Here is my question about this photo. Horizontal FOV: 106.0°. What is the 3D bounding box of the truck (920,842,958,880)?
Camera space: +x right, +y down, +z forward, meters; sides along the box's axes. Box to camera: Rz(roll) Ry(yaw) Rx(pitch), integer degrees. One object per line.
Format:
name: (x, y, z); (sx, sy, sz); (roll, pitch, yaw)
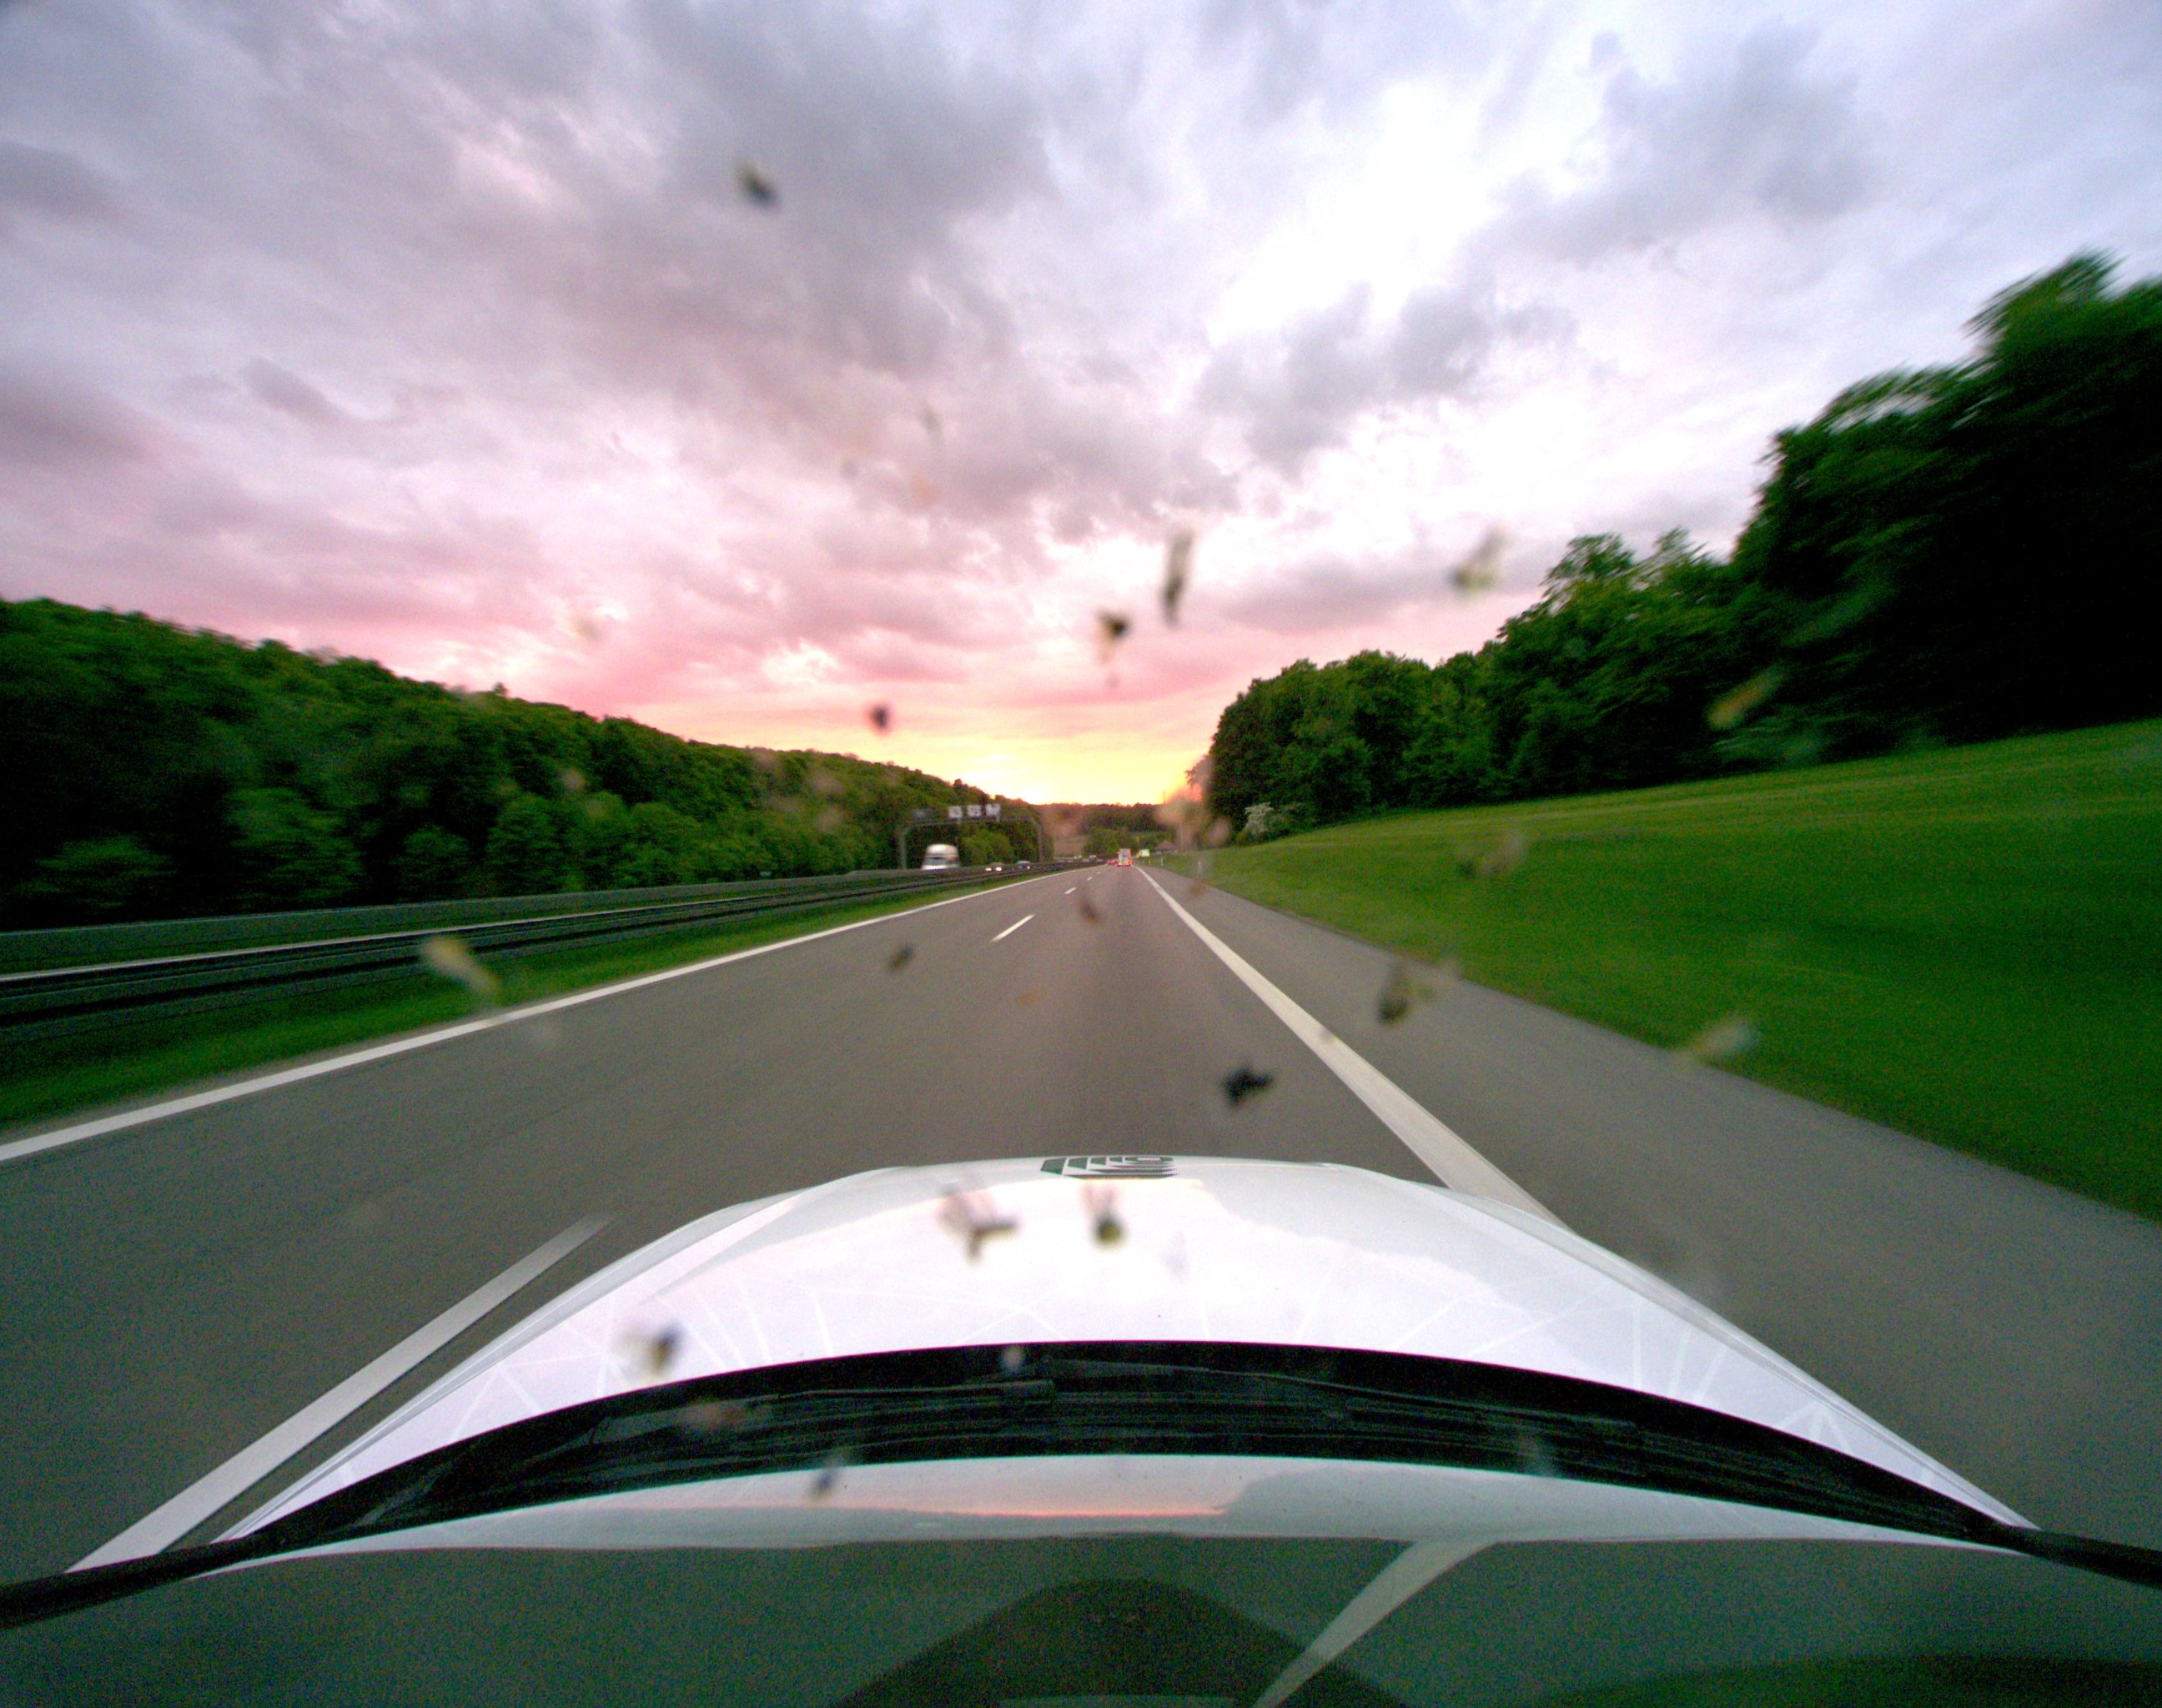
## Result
truck: (-12.110, 0.597, 69.852); (1.985, 3.067, 5.598); (-2, 0, 3)

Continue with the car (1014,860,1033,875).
car: (-6.561, 1.578, 93.663); (1.743, 1.596, 4.000); (-2, 0, 1)

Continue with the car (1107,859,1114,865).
car: (8.380, 2.208, 230.204); (1.986, 1.517, 4.002); (-2, 0, 2)

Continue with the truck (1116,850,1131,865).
truck: (7.992, 0.648, 153.455); (2.264, 2.665, 5.246); (-3, 0, 7)

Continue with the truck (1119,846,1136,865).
truck: (11.449, 0.328, 202.299); (3.942, 4.286, 14.334); (-3, 1, 3)
